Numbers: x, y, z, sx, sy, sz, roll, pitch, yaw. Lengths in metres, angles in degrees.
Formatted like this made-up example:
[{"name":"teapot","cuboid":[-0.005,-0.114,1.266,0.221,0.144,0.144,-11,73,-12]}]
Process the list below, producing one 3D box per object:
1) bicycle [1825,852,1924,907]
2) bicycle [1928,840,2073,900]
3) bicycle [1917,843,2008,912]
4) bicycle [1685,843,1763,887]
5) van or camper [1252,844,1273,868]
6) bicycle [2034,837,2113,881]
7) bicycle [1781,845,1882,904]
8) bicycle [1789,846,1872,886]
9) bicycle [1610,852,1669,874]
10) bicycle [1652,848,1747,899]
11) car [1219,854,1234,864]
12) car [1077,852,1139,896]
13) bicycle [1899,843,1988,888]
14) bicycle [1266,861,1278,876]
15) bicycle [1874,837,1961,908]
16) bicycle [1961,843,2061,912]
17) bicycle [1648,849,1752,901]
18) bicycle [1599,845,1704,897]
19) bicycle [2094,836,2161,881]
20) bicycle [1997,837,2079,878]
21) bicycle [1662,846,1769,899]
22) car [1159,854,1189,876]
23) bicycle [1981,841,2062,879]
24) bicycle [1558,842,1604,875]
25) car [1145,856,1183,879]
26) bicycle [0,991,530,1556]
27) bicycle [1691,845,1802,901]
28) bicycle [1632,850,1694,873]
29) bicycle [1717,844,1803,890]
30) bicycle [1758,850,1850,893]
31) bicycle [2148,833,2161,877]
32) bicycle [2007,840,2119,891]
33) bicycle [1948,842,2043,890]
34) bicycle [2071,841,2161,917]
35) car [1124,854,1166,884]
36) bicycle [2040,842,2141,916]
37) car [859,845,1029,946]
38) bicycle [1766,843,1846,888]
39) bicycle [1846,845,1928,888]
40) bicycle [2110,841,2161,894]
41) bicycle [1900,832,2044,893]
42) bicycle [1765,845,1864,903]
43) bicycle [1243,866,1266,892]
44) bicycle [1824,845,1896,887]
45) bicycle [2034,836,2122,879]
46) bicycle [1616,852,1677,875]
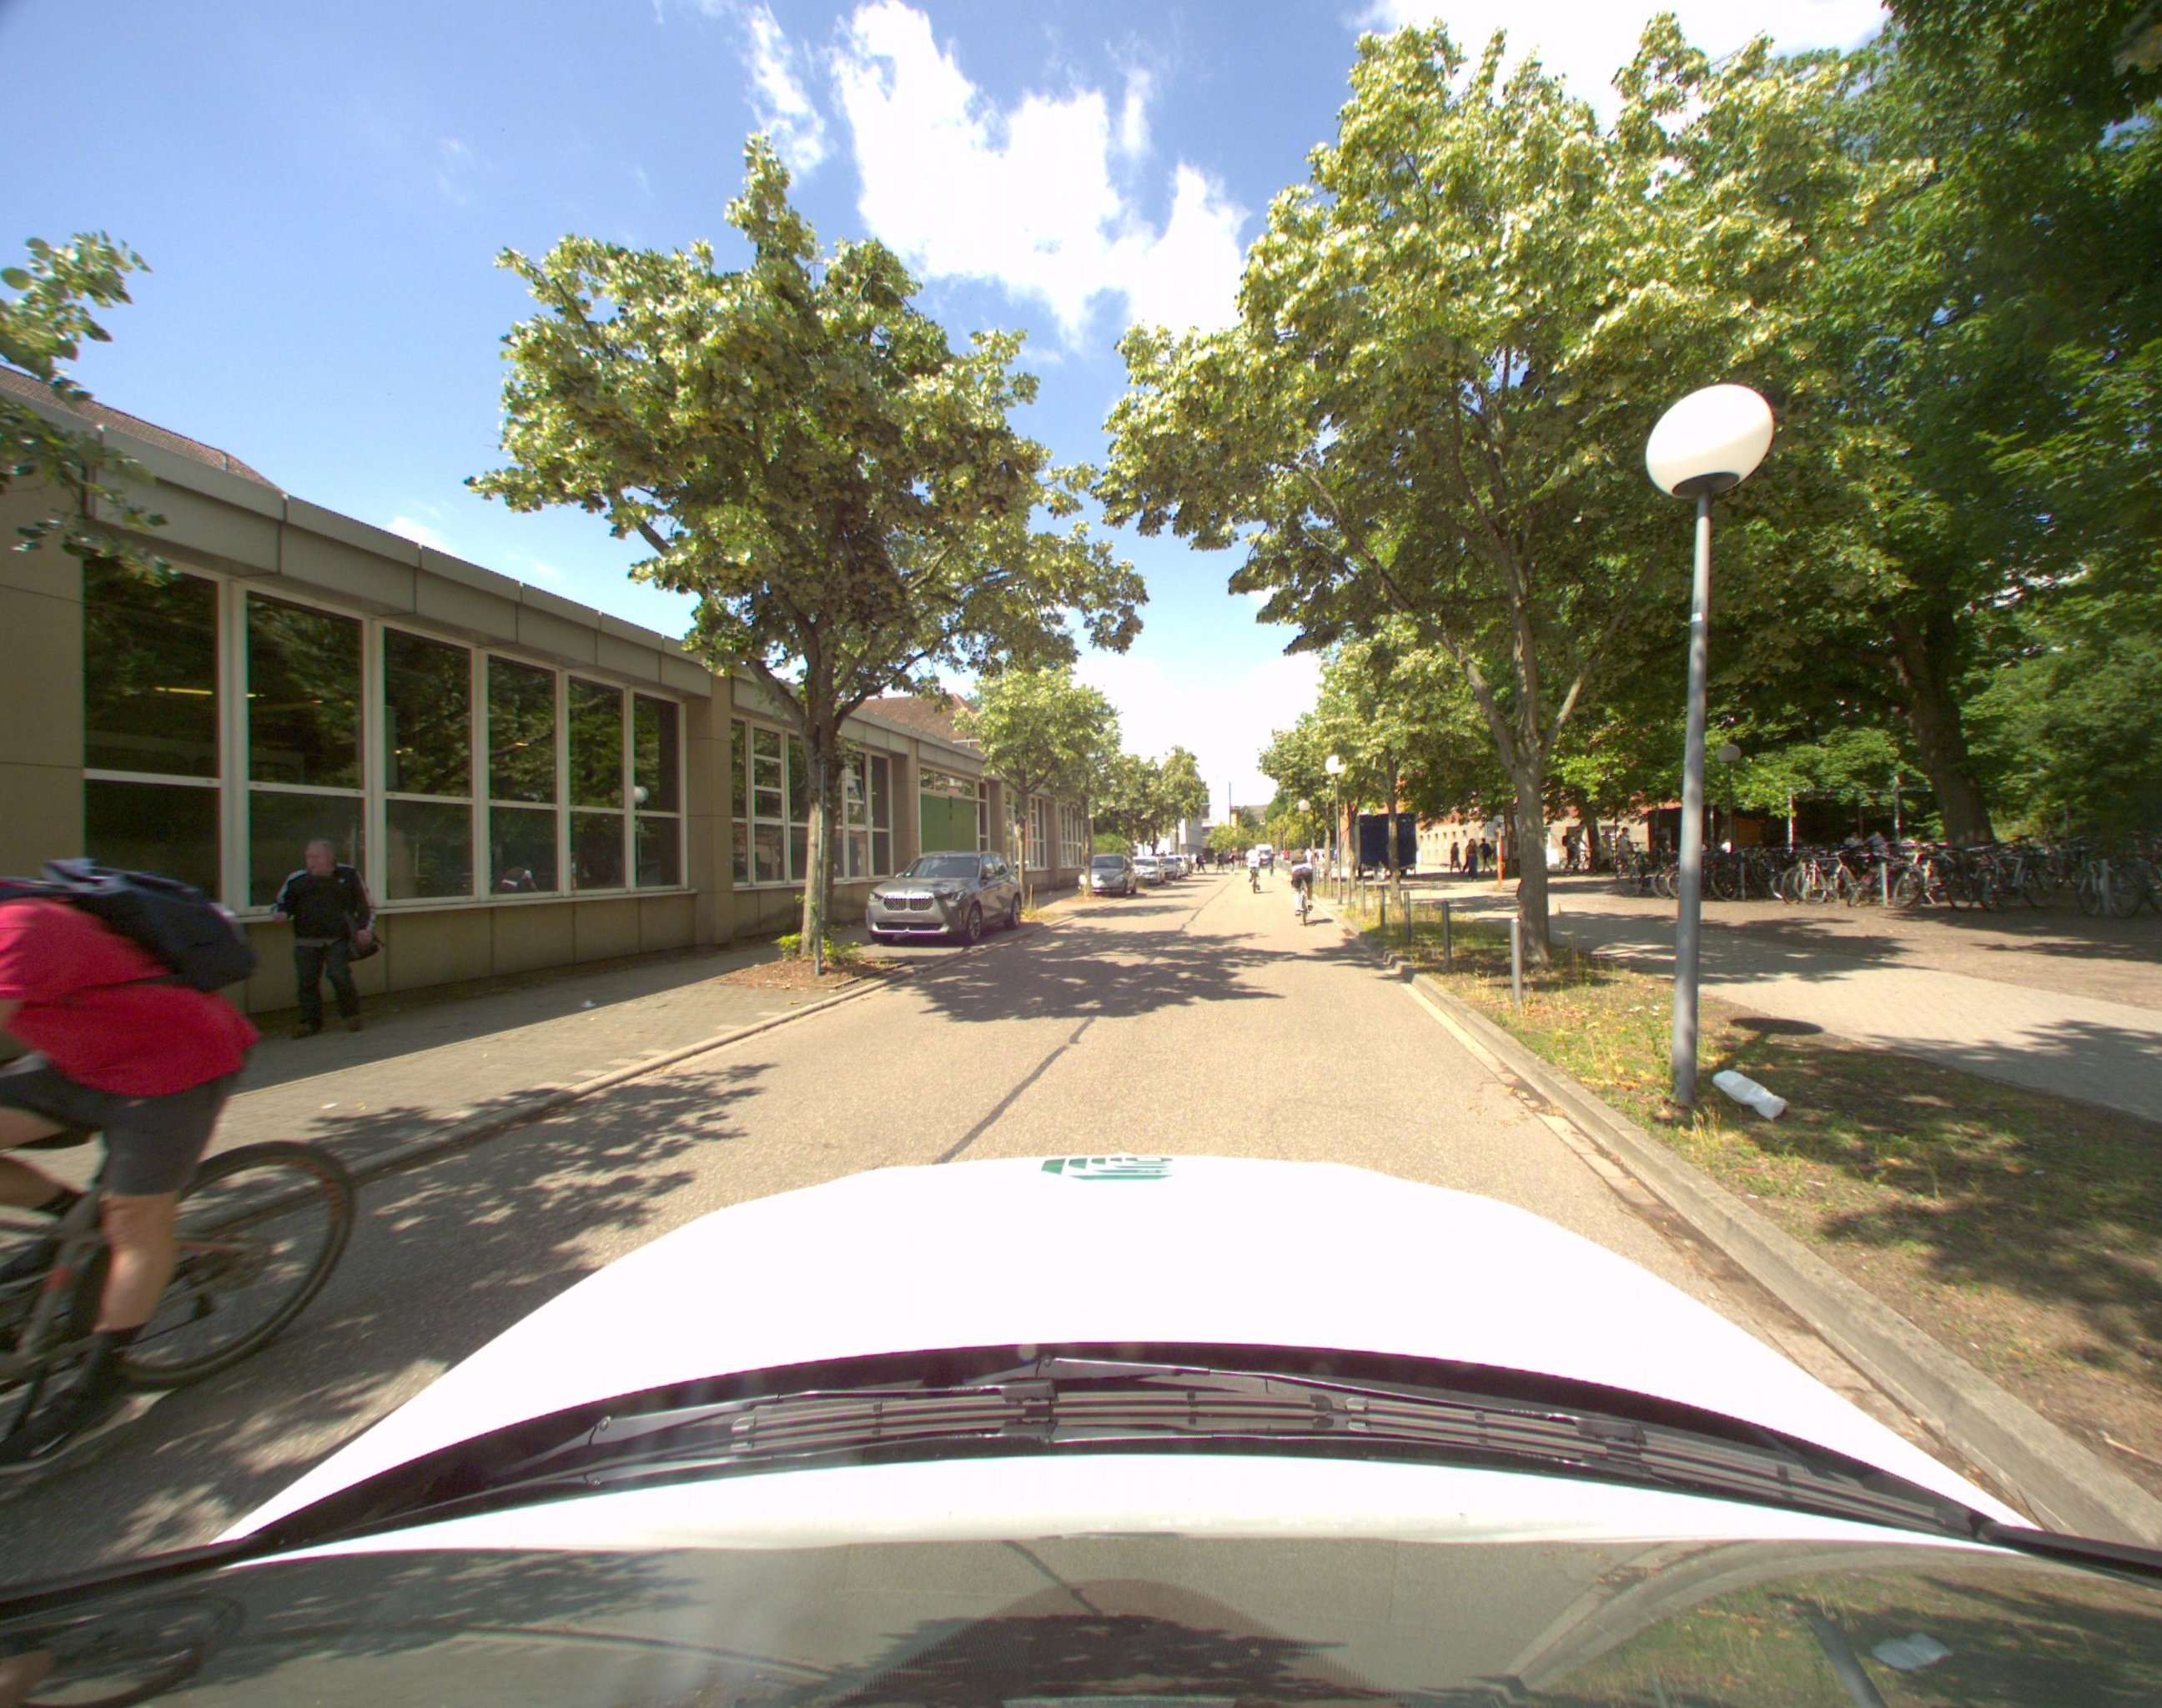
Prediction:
[{"name":"bicycle","cuboid":[14.213,0.443,14.586,1.737,0.909,0.491,-1,0,-18]},{"name":"bicycle","cuboid":[17.917,0.309,15.941,0.477,1.082,1.898,-2,-1,-8]},{"name":"bicycle","cuboid":[14.494,0.365,13.387,1.741,1.052,0.490,-1,0,-25]},{"name":"bicycle","cuboid":[17.586,0.306,22.278,1.803,1.118,0.610,-2,-1,-10]},{"name":"van or camper","cuboid":[20.002,0.259,89.416,1.979,2.446,4.587,-2,-1,15]},{"name":"bicycle","cuboid":[25.466,0.123,20.904,1.778,1.039,0.433,-2,-1,-10]},{"name":"bicycle","cuboid":[14.210,0.379,15.417,1.908,1.059,0.324,-1,0,-12]},{"name":"bicycle","cuboid":[19.711,0.316,21.421,1.896,0.979,0.477,-2,-1,-8]},{"name":"bicycle","cuboid":[28.601,0.464,41.746,2.374,1.072,0.787,-1,-1,25]},{"name":"bicycle","cuboid":[13.832,0.434,18.225,1.761,1.082,0.438,-1,0,0]},{"name":"car","cuboid":[22.630,0.817,126.726,1.782,1.530,4.017,-1,0,16]},{"name":"car","cuboid":[1.089,0.733,31.218,1.746,1.556,4.125,1,0,10]},{"name":"bicycle","cuboid":[20.115,0.269,18.999,1.898,0.979,0.420,-2,-1,-10]},{"name":"bicycle","cuboid":[13.341,1.022,56.890,0.803,1.002,2.131,0,-1,13]},{"name":"bicycle","cuboid":[14.581,0.309,14.185,1.741,1.155,0.490,-1,0,-25]},{"name":"bicycle","cuboid":[14.895,0.365,13.036,1.797,1.028,0.437,-1,0,-20]},{"name":"bicycle","cuboid":[13.554,0.452,17.847,1.937,1.082,0.405,-1,0,0]},{"name":"bicycle","cuboid":[13.463,0.391,19.233,2.007,1.167,0.652,-1,0,0]},{"name":"bicycle","cuboid":[26.192,0.106,20.213,1.778,1.039,0.477,-2,-1,-10]},{"name":"bicycle","cuboid":[25.963,0.098,22.094,1.952,1.039,0.434,-2,-1,-8]},{"name":"bicycle","cuboid":[13.557,0.388,17.416,1.937,1.082,0.405,-1,0,0]},{"name":"car","cuboid":[6.488,0.738,56.617,1.651,1.412,3.819,0,0,12]},{"name":"bicycle","cuboid":[26.023,0.165,22.542,1.952,0.979,0.437,-2,-1,-8]},{"name":"bicycle","cuboid":[19.939,0.197,32.502,0.529,1.252,1.733,-3,0,-8]},{"name":"car","cuboid":[5.189,0.792,50.487,1.713,1.343,4.181,1,0,14]},{"name":"bicycle","cuboid":[-2.626,0.986,2.082,0.810,1.042,1.937,-1,-4,13]},{"name":"bicycle","cuboid":[13.643,0.390,16.711,1.937,1.082,0.405,-1,0,0]},{"name":"bicycle","cuboid":[28.336,0.369,39.681,2.375,1.072,0.787,0,-1,24]},{"name":"bicycle","cuboid":[17.683,0.332,21.212,1.898,1.118,0.610,-2,-1,-10]},{"name":"bicycle","cuboid":[17.816,0.418,20.074,1.898,0.979,0.610,-2,-1,-10]},{"name":"bicycle","cuboid":[26.471,-0.001,19.384,1.826,1.039,0.477,-2,-1,-10]},{"name":"bicycle","cuboid":[20.489,0.229,17.004,1.898,0.979,0.610,-2,-1,-10]},{"name":"bicycle","cuboid":[20.130,0.253,17.931,1.898,0.979,0.477,-2,-1,-11]},{"name":"bicycle","cuboid":[15.140,0.341,11.823,1.793,1.028,0.379,-1,0,-20]},{"name":"car","cuboid":[3.372,0.758,42.167,1.714,1.456,4.596,1,0,10]},{"name":"bicycle","cuboid":[15.038,0.350,12.126,1.793,1.028,0.379,-1,0,-20]},{"name":"car","cuboid":[-2.447,0.694,15.847,1.811,1.632,4.529,1,0,10]},{"name":"bicycle","cuboid":[19.870,0.315,22.327,1.896,1.143,0.477,-2,-1,-8]},{"name":"bicycle","cuboid":[19.936,0.299,20.136,1.899,0.979,0.476,-2,-1,-13]},{"name":"bicycle","cuboid":[21.064,0.242,15.985,1.905,0.979,0.532,-2,-1,-22]},{"name":"bicycle","cuboid":[16.999,0.160,15.612,0.477,1.082,1.898,-2,-1,-8]},{"name":"bicycle","cuboid":[14.166,0.383,15.723,1.908,1.059,0.324,-1,0,-12]},{"name":"bicycle","cuboid":[6.773,0.961,31.723,0.802,1.002,2.131,-1,-1,14]},{"name":"bicycle","cuboid":[19.888,0.303,20.790,1.902,0.979,0.419,-2,-1,-16]},{"name":"bicycle","cuboid":[26.186,0.099,21.392,1.952,1.039,0.477,-2,-1,-8]},{"name":"bicycle","cuboid":[28.329,0.482,40.866,2.376,1.072,0.787,-1,-1,19]}]
